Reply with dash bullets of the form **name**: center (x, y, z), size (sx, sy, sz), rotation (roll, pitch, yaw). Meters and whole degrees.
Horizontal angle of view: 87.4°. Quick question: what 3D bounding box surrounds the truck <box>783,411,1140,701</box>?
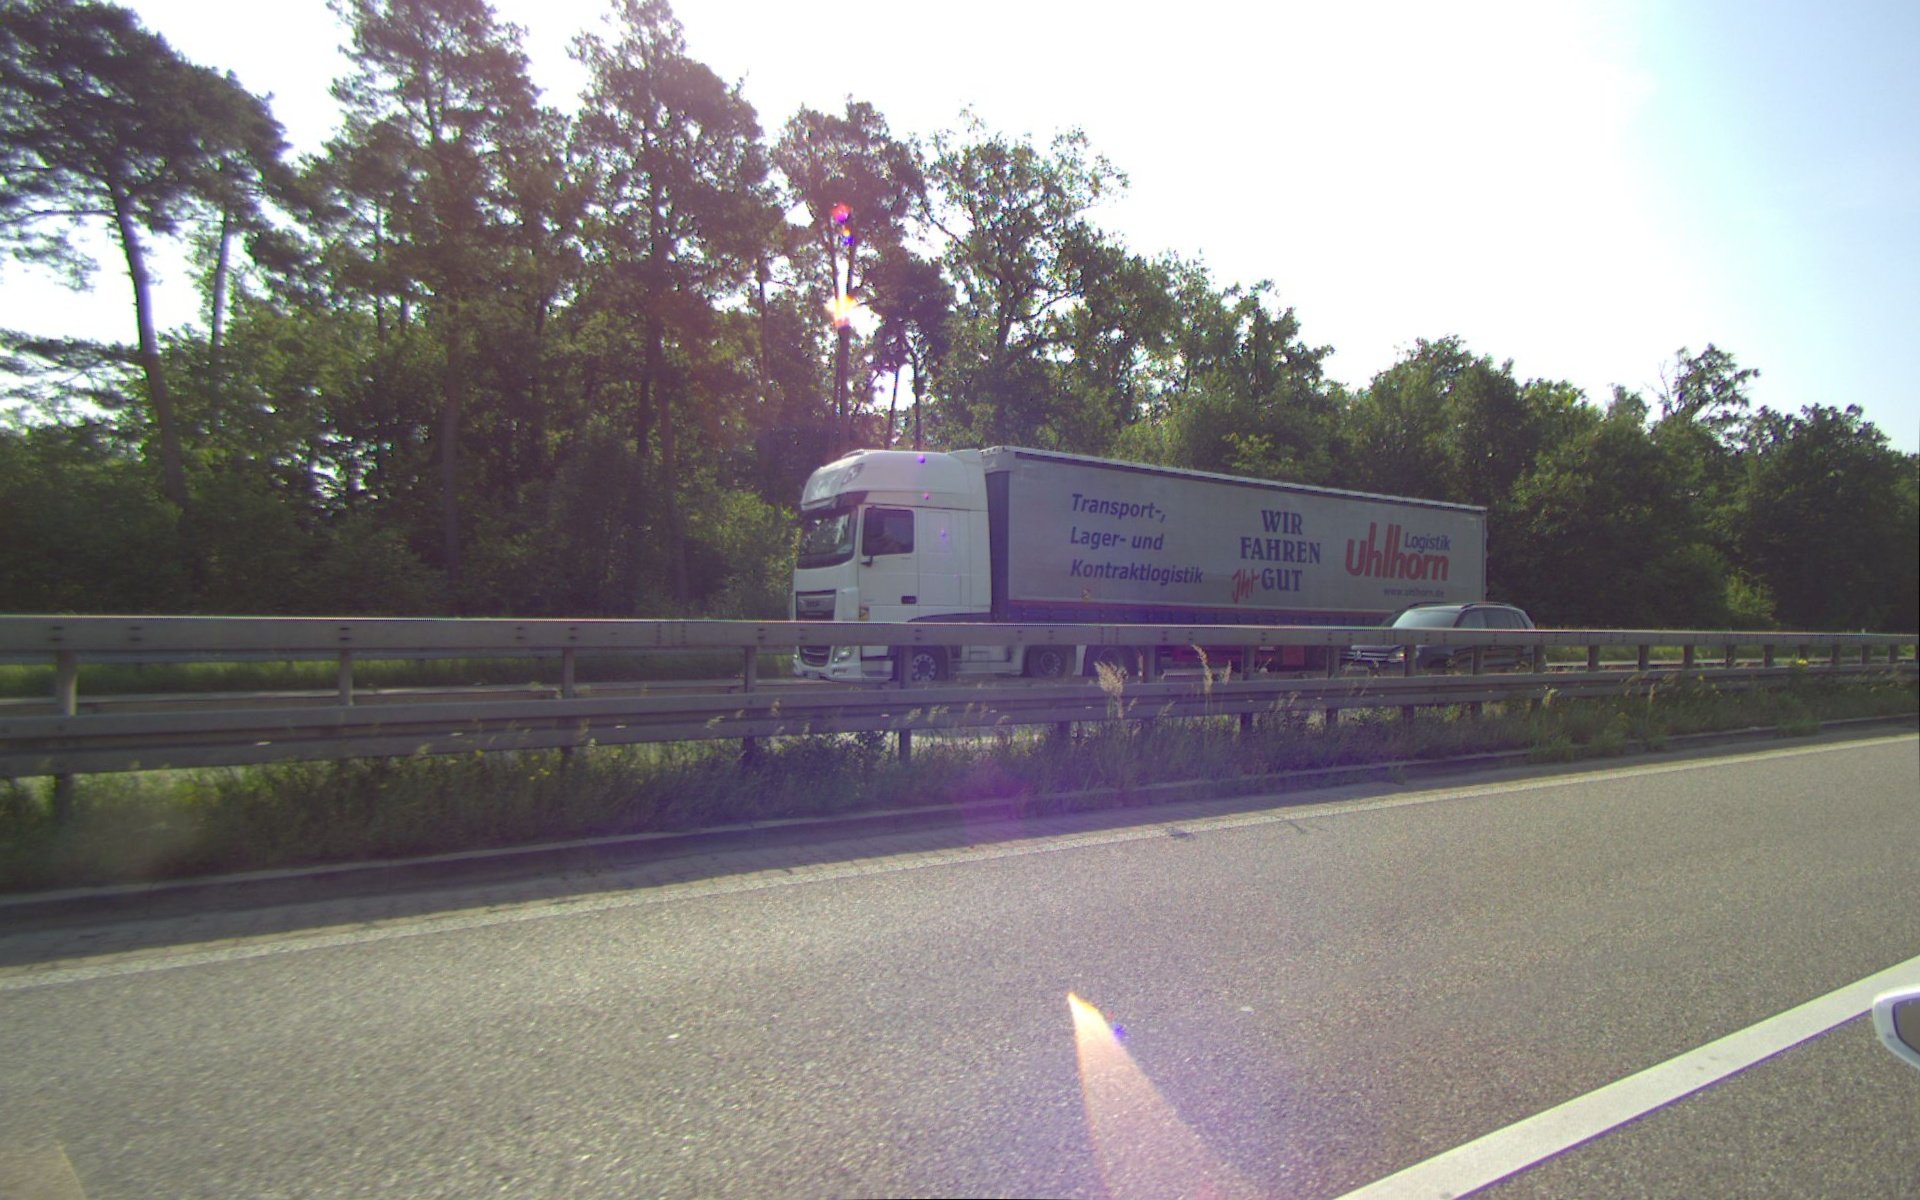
- **truck**: center (0.069, -0.570, 17.345), size (5.483, 4.251, 2.823), rotation (1, -1, -31)

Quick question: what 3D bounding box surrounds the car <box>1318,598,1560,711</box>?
- **car**: center (8.197, 0.874, 17.108), size (4.119, 1.711, 1.678), rotation (1, 0, -30)

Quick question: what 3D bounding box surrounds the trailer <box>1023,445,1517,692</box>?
- **trailer**: center (7.198, -0.391, 21.732), size (12.270, 4.264, 2.818), rotation (1, -1, -31)
